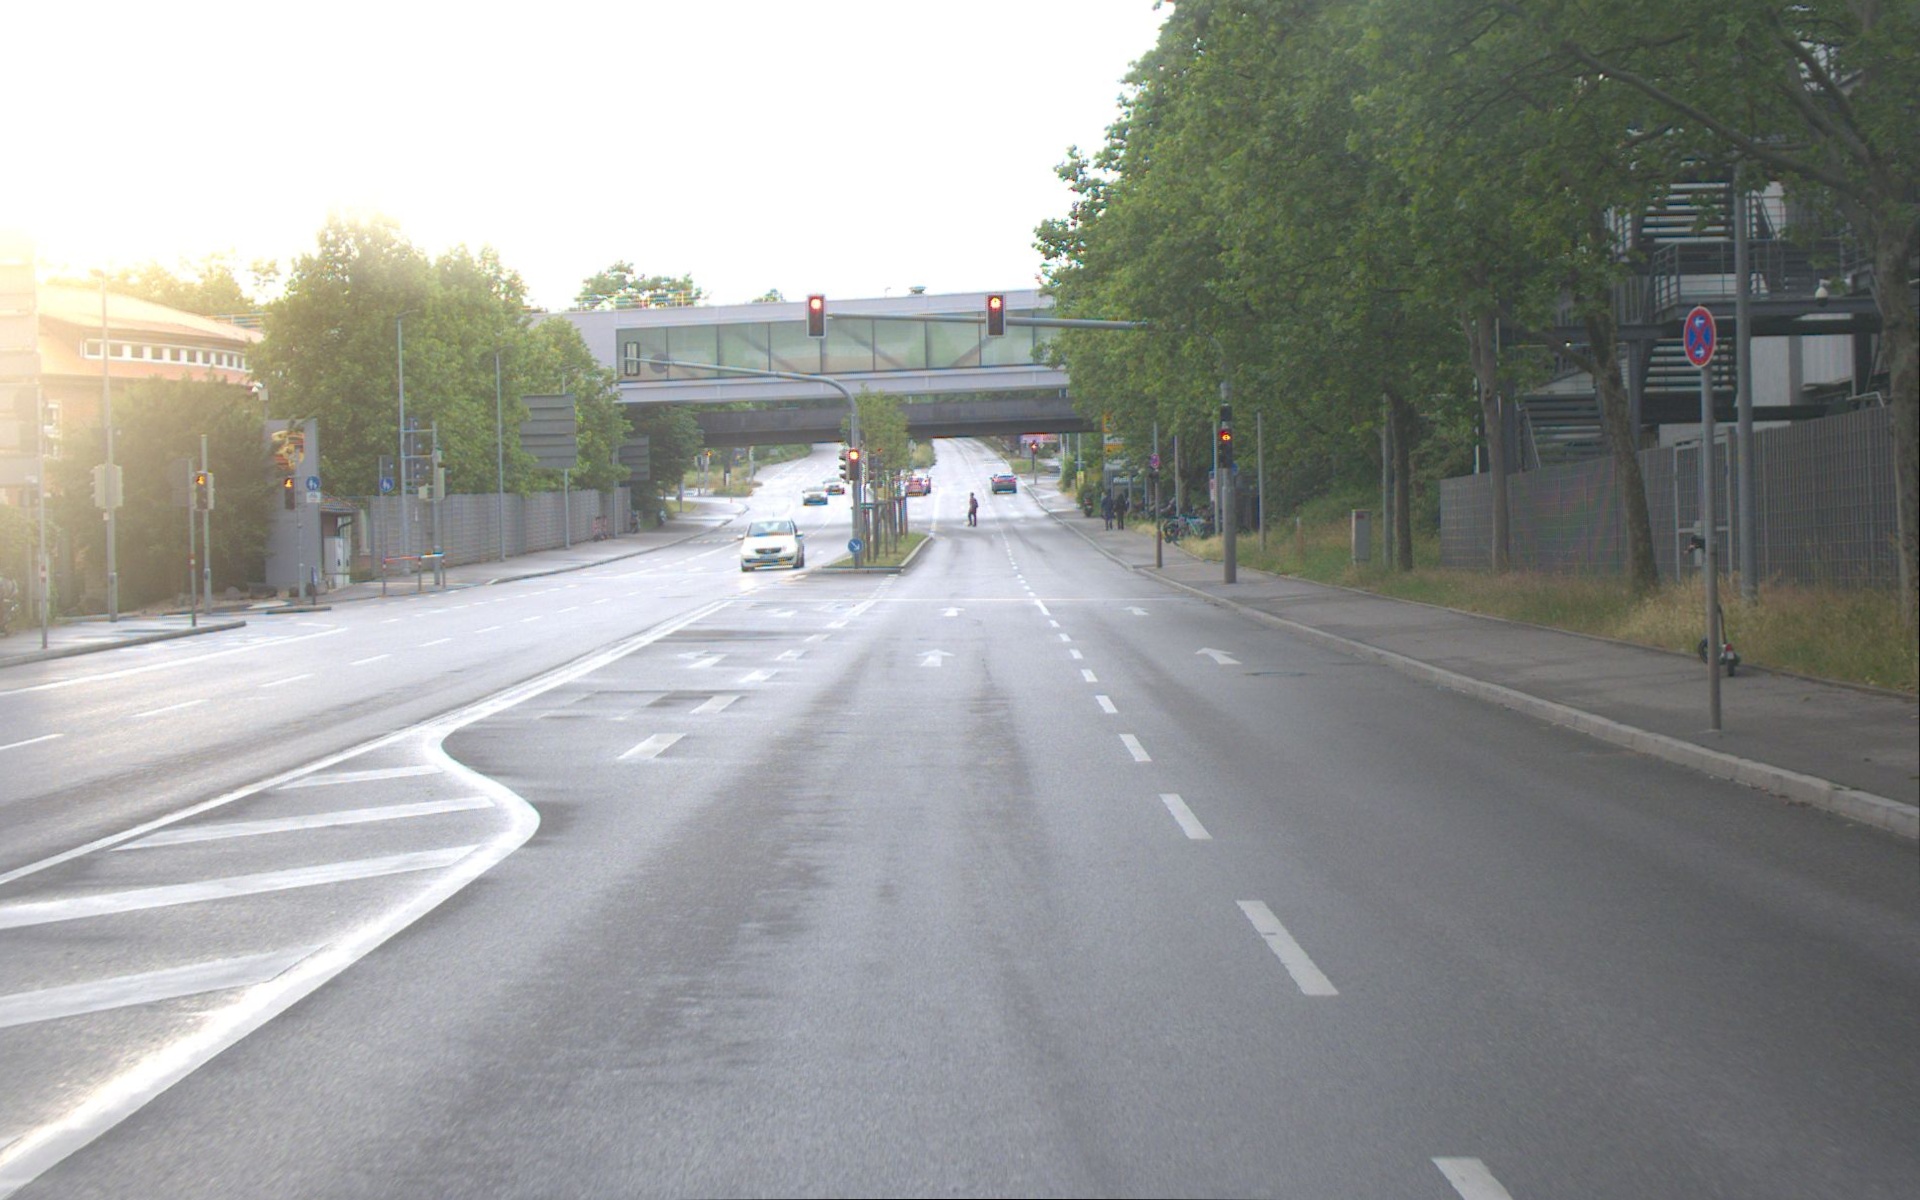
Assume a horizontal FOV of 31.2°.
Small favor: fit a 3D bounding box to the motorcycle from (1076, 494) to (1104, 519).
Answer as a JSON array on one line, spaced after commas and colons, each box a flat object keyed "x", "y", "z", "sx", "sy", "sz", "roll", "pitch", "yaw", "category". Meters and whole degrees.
[{"x": 7.207, "y": -5.164, "z": 190.636, "sx": 0.790, "sy": 1.307, "sz": 2.377, "roll": -3, "pitch": 2, "yaw": -17, "category": "motorcycle"}]

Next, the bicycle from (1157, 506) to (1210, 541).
[{"x": 8.688, "y": -2.968, "z": 133.612, "sx": 1.990, "sy": 1.324, "sz": 0.576, "roll": 1, "pitch": 1, "yaw": 2, "category": "bicycle"}]

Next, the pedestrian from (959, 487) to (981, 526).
[{"x": 0.549, "y": -4.983, "z": 183.433, "sx": 0.873, "sy": 1.997, "sz": 0.854, "roll": -2, "pitch": 1, "yaw": 18, "category": "pedestrian"}]

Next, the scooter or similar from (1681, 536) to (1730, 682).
[{"x": 6.631, "y": 0.067, "z": 30.591, "sx": 0.329, "sy": 1.265, "sz": 1.108, "roll": -1, "pitch": 1, "yaw": 9, "category": "scooter or similar"}]

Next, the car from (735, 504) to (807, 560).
[{"x": -5.772, "y": -2.102, "z": 105.519, "sx": 1.877, "sy": 1.619, "sz": 3.779, "roll": -2, "pitch": 2, "yaw": 1, "category": "car"}]

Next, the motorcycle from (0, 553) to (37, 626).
[{"x": -16.873, "y": -0.184, "z": 60.230, "sx": 0.784, "sy": 1.243, "sz": 2.157, "roll": -2, "pitch": 1, "yaw": 0, "category": "motorcycle"}]

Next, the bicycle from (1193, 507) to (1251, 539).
[{"x": 9.075, "y": -2.673, "z": 119.043, "sx": 1.990, "sy": 1.091, "sz": 0.541, "roll": 1, "pitch": 1, "yaw": 2, "category": "bicycle"}]

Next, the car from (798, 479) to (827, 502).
[{"x": -11.067, "y": -8.218, "z": 257.880, "sx": 1.877, "sy": 1.619, "sz": 3.779, "roll": -2, "pitch": 2, "yaw": 1, "category": "car"}]

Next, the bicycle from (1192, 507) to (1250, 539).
[{"x": 9.085, "y": -2.679, "z": 119.612, "sx": 1.990, "sy": 1.091, "sz": 0.541, "roll": 1, "pitch": 1, "yaw": 2, "category": "bicycle"}]

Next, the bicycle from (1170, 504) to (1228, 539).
[{"x": 8.424, "y": -2.765, "z": 121.088, "sx": 1.990, "sy": 1.212, "sz": 0.541, "roll": 1, "pitch": 1, "yaw": 2, "category": "bicycle"}]

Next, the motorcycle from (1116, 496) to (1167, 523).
[{"x": 8.786, "y": -4.396, "z": 166.732, "sx": 2.369, "sy": 1.198, "sz": 0.722, "roll": -2, "pitch": 1, "yaw": 9, "category": "motorcycle"}]

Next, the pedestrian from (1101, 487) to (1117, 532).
[{"x": 6.779, "y": -4.120, "z": 156.688, "sx": 0.622, "sy": 2.006, "sz": 0.605, "roll": -2, "pitch": 1, "yaw": 1, "category": "pedestrian"}]

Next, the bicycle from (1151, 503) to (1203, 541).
[{"x": 8.373, "y": -3.012, "z": 132.765, "sx": 1.990, "sy": 1.425, "sz": 0.723, "roll": 1, "pitch": 1, "yaw": 2, "category": "bicycle"}]
